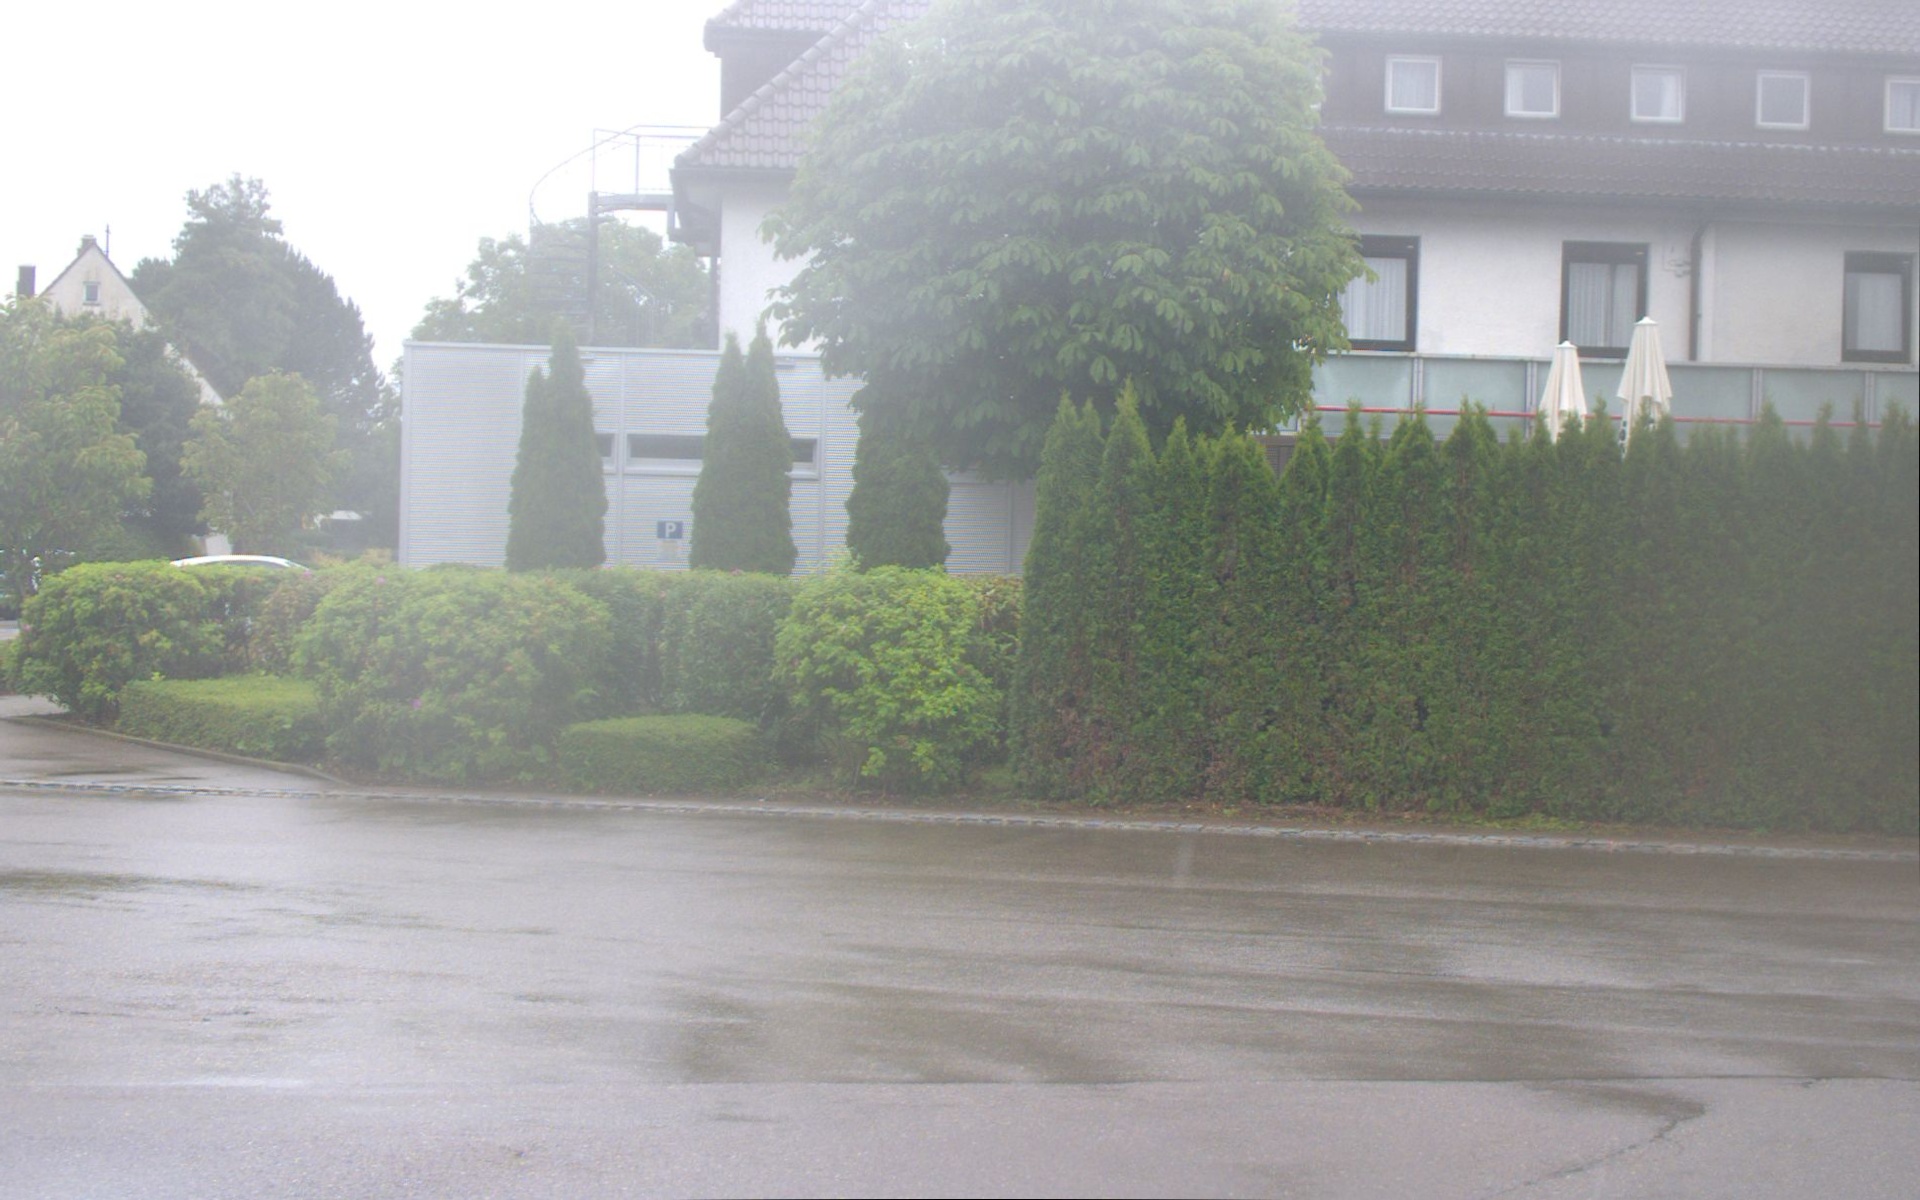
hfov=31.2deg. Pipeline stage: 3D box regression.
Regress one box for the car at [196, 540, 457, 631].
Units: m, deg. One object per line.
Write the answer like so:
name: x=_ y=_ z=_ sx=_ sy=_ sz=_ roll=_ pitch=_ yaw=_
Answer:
car: x=-10.649 y=-0.251 z=57.978 sx=4.174 sy=1.492 sz=1.718 roll=0 pitch=1 yaw=-5

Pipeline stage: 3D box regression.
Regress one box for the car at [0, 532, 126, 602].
car: x=-19.875 y=-0.727 z=74.614 sx=3.677 sy=1.453 sz=1.582 roll=1 pitch=1 yaw=40

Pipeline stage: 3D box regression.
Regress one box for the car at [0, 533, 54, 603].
car: x=-21.041 y=-0.707 z=73.138 sx=3.677 sy=1.453 sz=1.582 roll=1 pitch=1 yaw=40
